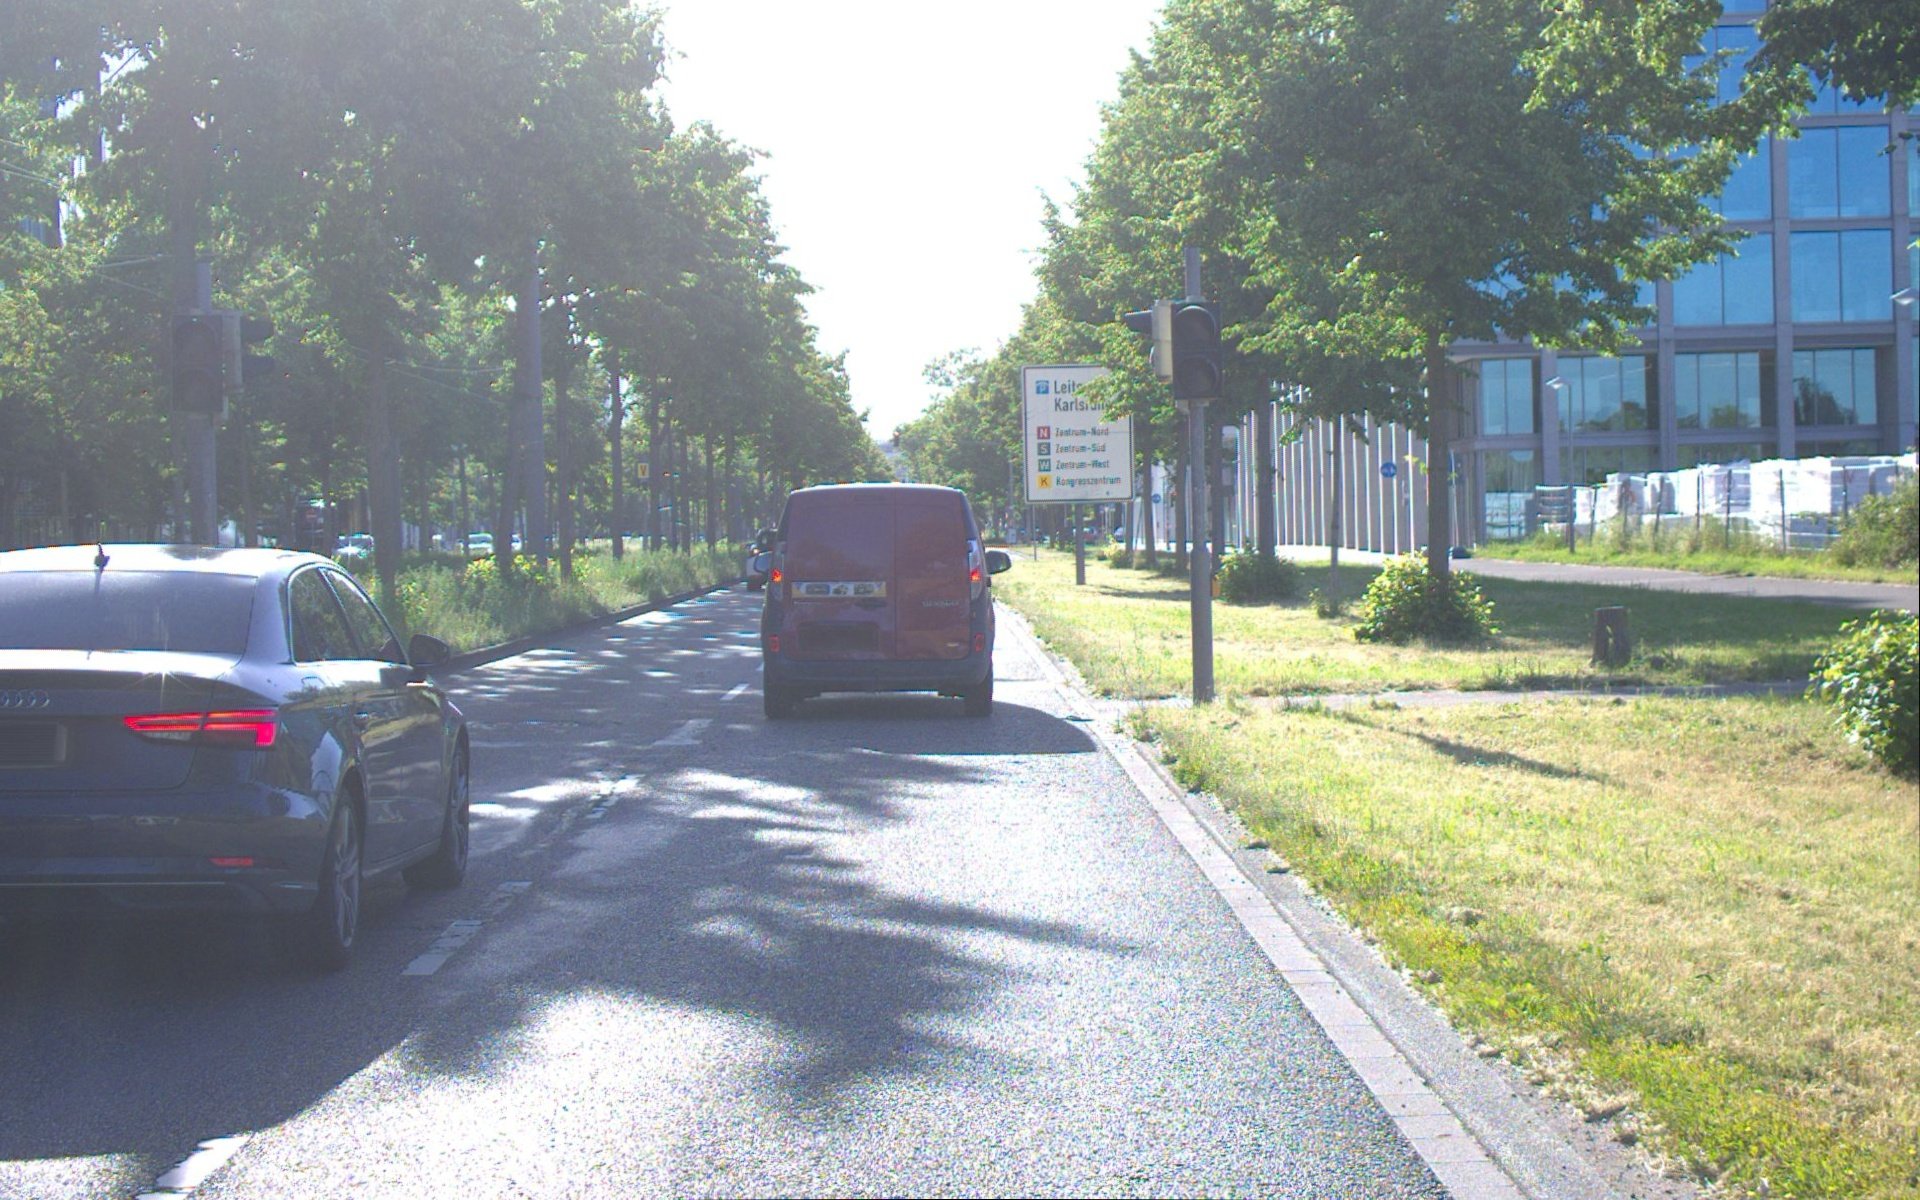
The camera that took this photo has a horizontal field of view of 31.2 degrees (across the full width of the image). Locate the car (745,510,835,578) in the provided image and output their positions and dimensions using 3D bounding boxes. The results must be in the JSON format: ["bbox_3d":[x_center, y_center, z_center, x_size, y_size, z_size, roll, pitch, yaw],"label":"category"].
[{"bbox_3d":[-3.859,-1.295,78.288,1.942,1.436,4.001,-2,1,-2],"label":"car"}]

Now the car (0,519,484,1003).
[{"bbox_3d":[-2.876,0.435,12.364,1.721,1.361,4.146,1,2,0],"label":"car"}]

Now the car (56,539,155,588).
[{"bbox_3d":[-23.512,-1.022,94.664,1.769,1.234,3.485,-2,1,1],"label":"car"}]

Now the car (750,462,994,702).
[{"bbox_3d":[-0.716,-0.182,27.470,1.797,1.771,4.001,0,1,-2],"label":"car"}]
